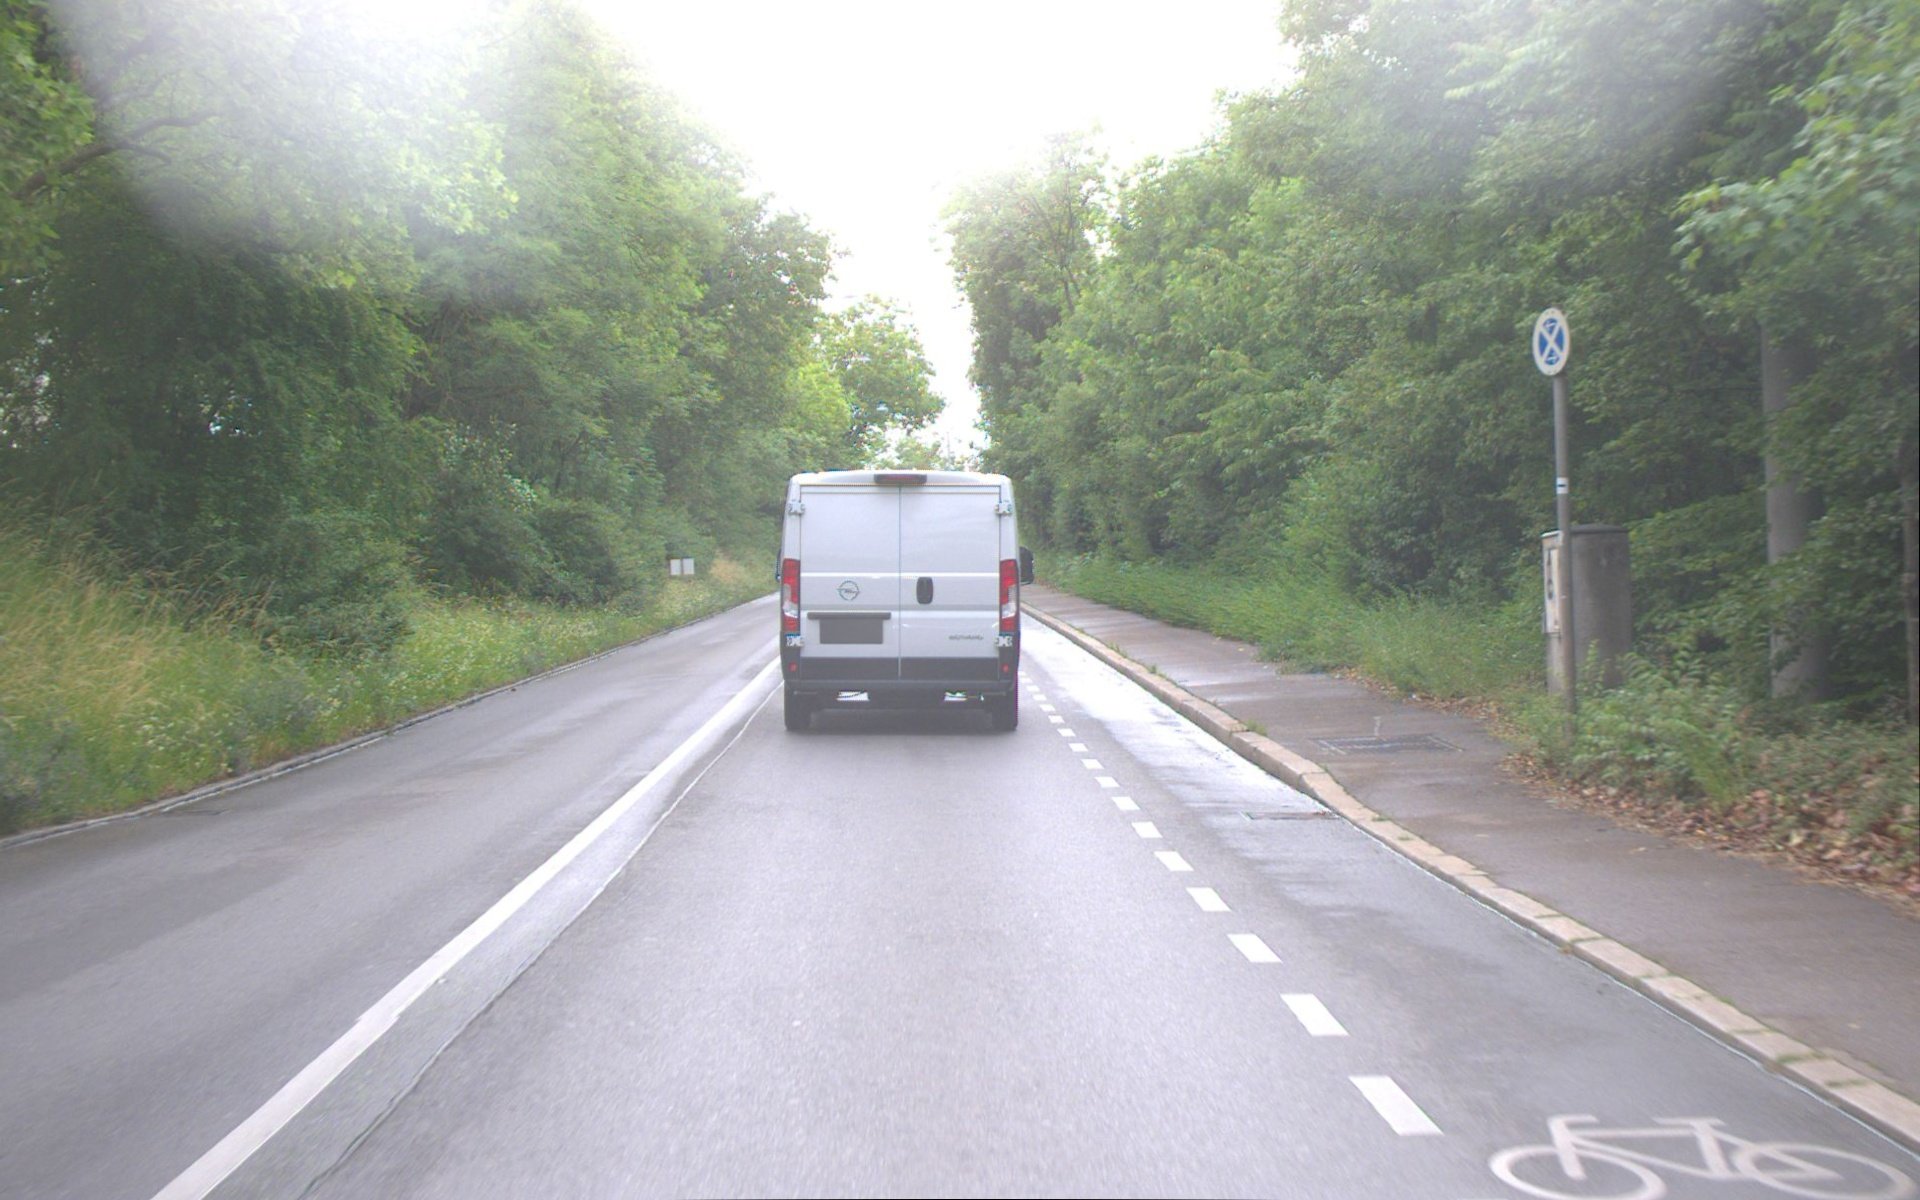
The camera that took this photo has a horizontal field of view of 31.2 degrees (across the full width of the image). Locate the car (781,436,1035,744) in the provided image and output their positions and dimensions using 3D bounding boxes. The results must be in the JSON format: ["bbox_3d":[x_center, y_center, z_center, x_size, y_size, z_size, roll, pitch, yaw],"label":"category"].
[{"bbox_3d":[-0.452,-0.147,31.032,2.050,2.508,4.944,1,2,0],"label":"car"}]
